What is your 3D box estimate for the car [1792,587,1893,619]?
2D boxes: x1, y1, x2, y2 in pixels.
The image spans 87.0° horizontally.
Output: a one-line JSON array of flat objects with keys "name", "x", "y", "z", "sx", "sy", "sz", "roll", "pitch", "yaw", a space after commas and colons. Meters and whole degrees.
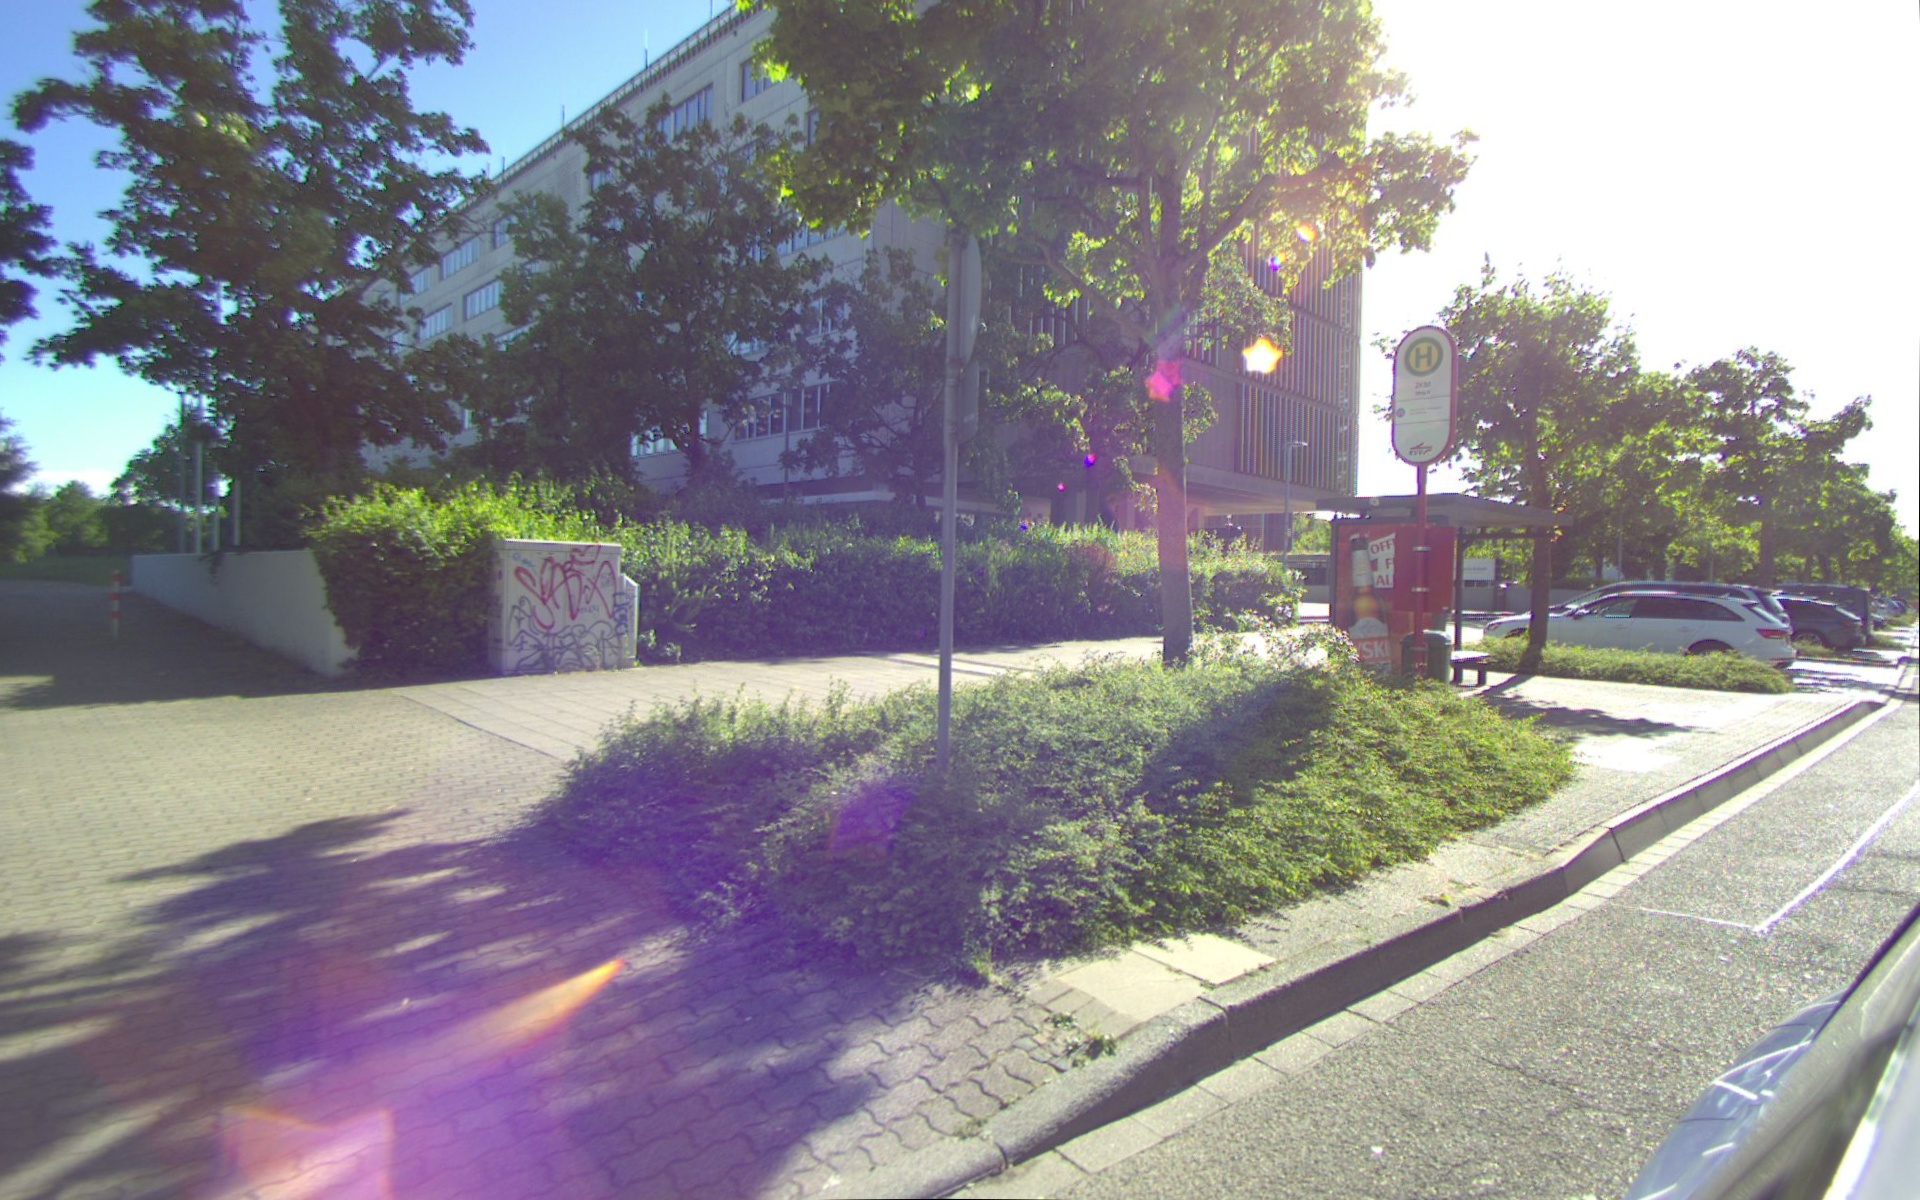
[{"name": "car", "x": 45.055, "y": 0.101, "z": 51.703, "sx": 3.754, "sy": 1.443, "sz": 1.704, "roll": 4, "pitch": 3, "yaw": 45}]

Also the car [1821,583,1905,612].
[{"name": "car", "x": 54.907, "y": -0.175, "z": 61.585, "sx": 3.710, "sy": 1.544, "sz": 1.649, "roll": 4, "pitch": 3, "yaw": 45}]

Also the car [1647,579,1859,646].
[{"name": "car", "x": 21.967, "y": 0.280, "z": 28.149, "sx": 2.041, "sy": 1.576, "sz": 4.406, "roll": 0, "pitch": 3, "yaw": -45}]

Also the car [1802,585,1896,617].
[{"name": "car", "x": 48.258, "y": 0.022, "z": 54.966, "sx": 3.710, "sy": 1.585, "sz": 1.649, "roll": 4, "pitch": 3, "yaw": 45}]

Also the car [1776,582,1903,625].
[{"name": "car", "x": 37.160, "y": 0.108, "z": 42.807, "sx": 3.951, "sy": 1.620, "sz": 1.650, "roll": 3, "pitch": 3, "yaw": 43}]

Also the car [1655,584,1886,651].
[{"name": "car", "x": 20.688, "y": 0.373, "z": 25.970, "sx": 2.041, "sy": 1.426, "sz": 4.406, "roll": 0, "pitch": 3, "yaw": -45}]

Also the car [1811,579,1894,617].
[{"name": "car", "x": 50.093, "y": -0.140, "z": 56.826, "sx": 3.384, "sy": 1.911, "sz": 1.669, "roll": 3, "pitch": 3, "yaw": 45}]

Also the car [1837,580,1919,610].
[{"name": "car", "x": 57.131, "y": -0.350, "z": 62.991, "sx": 3.710, "sy": 1.692, "sz": 1.649, "roll": 3, "pitch": 3, "yaw": 45}]

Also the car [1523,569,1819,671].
[{"name": "car", "x": 13.729, "y": 0.281, "z": 19.716, "sx": 2.041, "sy": 1.661, "sz": 4.406, "roll": 0, "pitch": 3, "yaw": -45}]

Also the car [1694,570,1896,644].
[{"name": "car", "x": 24.666, "y": 0.143, "z": 29.989, "sx": 2.041, "sy": 1.915, "sz": 4.406, "roll": 0, "pitch": 3, "yaw": -45}]

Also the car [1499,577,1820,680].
[{"name": "car", "x": 12.281, "y": 0.404, "z": 17.980, "sx": 1.864, "sy": 1.481, "sz": 4.406, "roll": 0, "pitch": 3, "yaw": -44}]
